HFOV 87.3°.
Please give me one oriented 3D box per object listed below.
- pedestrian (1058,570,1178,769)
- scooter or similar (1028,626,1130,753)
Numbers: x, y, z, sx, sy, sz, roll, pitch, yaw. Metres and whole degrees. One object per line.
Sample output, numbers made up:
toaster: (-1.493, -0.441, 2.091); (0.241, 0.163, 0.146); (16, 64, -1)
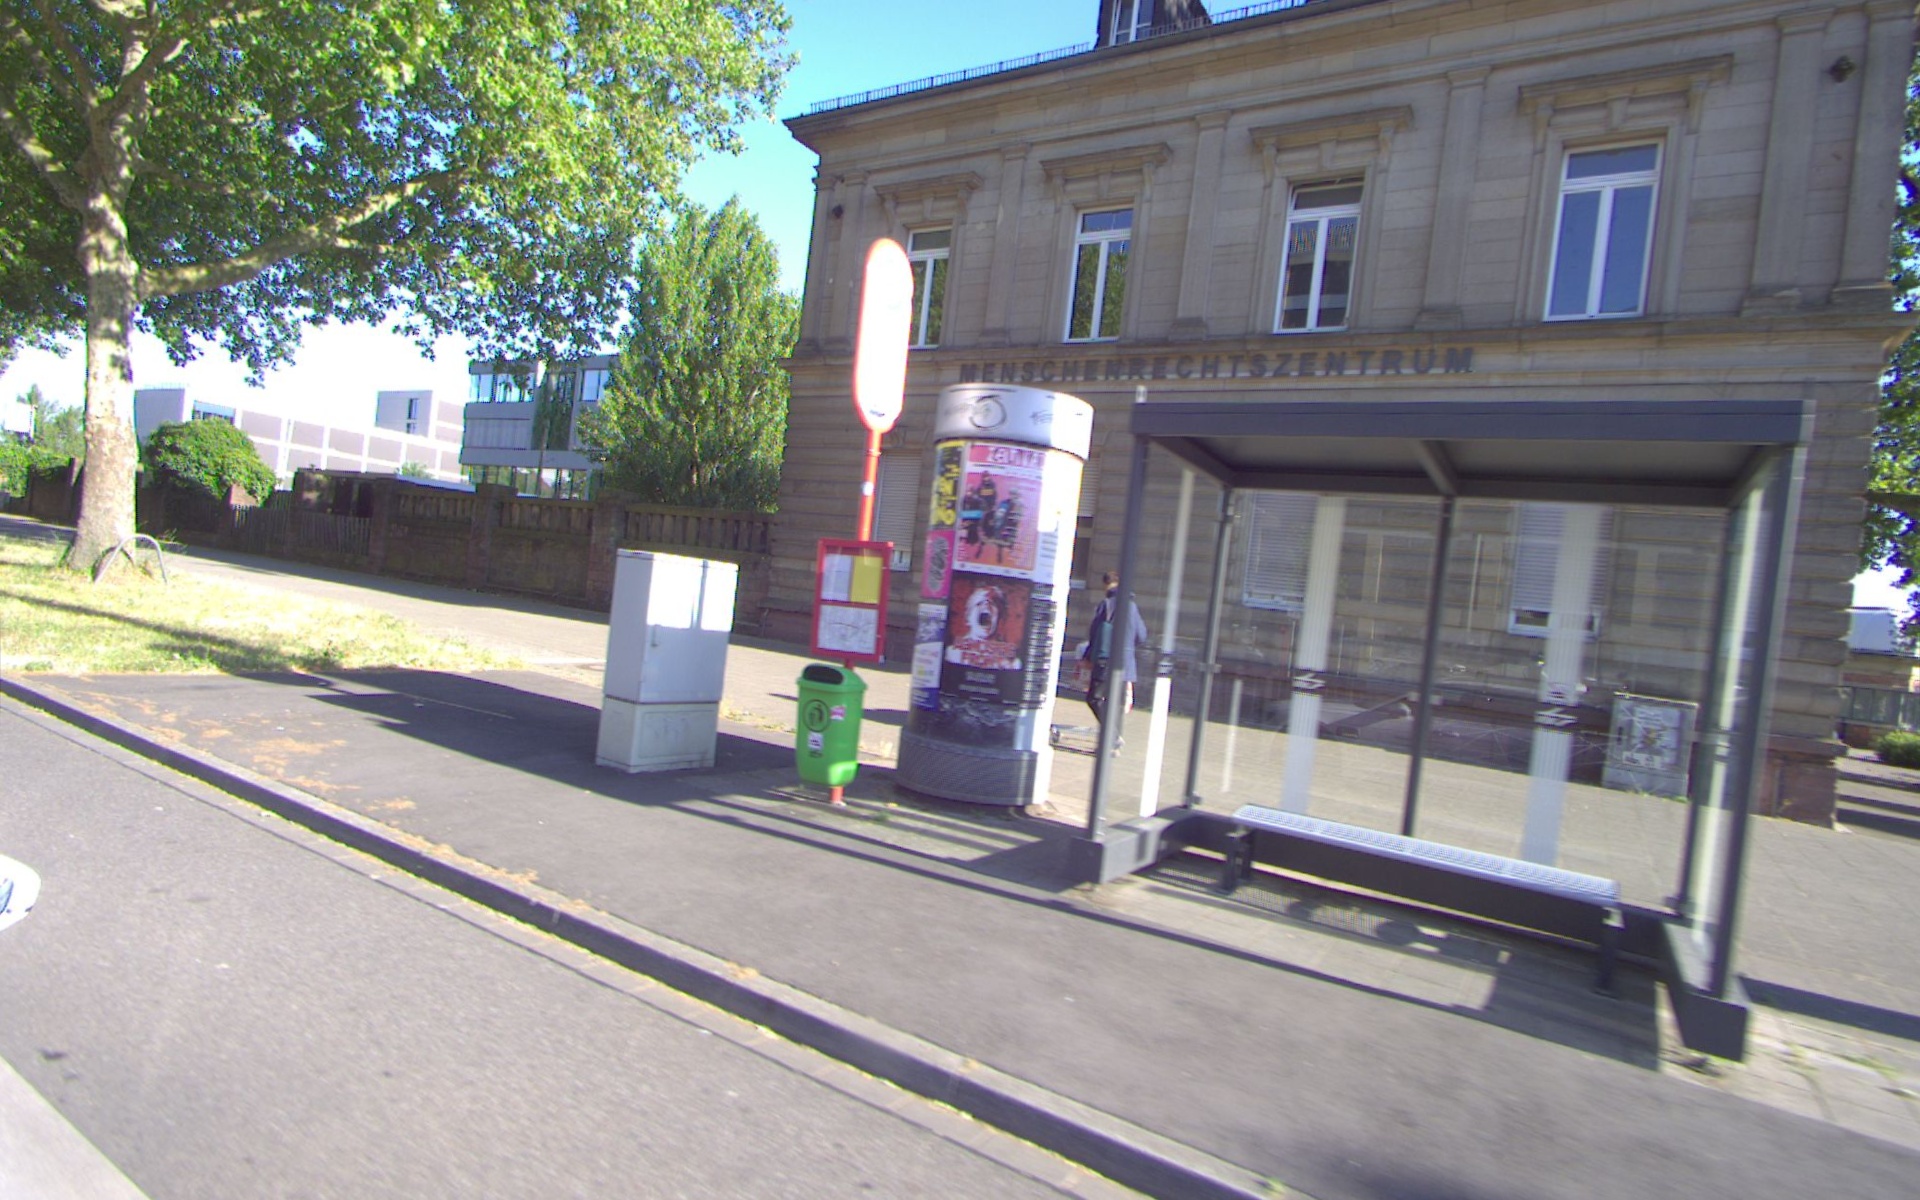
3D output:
pedestrian: (1.535, 0.644, 9.726); (0.782, 1.768, 0.770); (7, 3, 26)
scooter or similar: (1.234, 0.898, 10.415); (0.746, 1.171, 0.719); (7, 3, 26)
